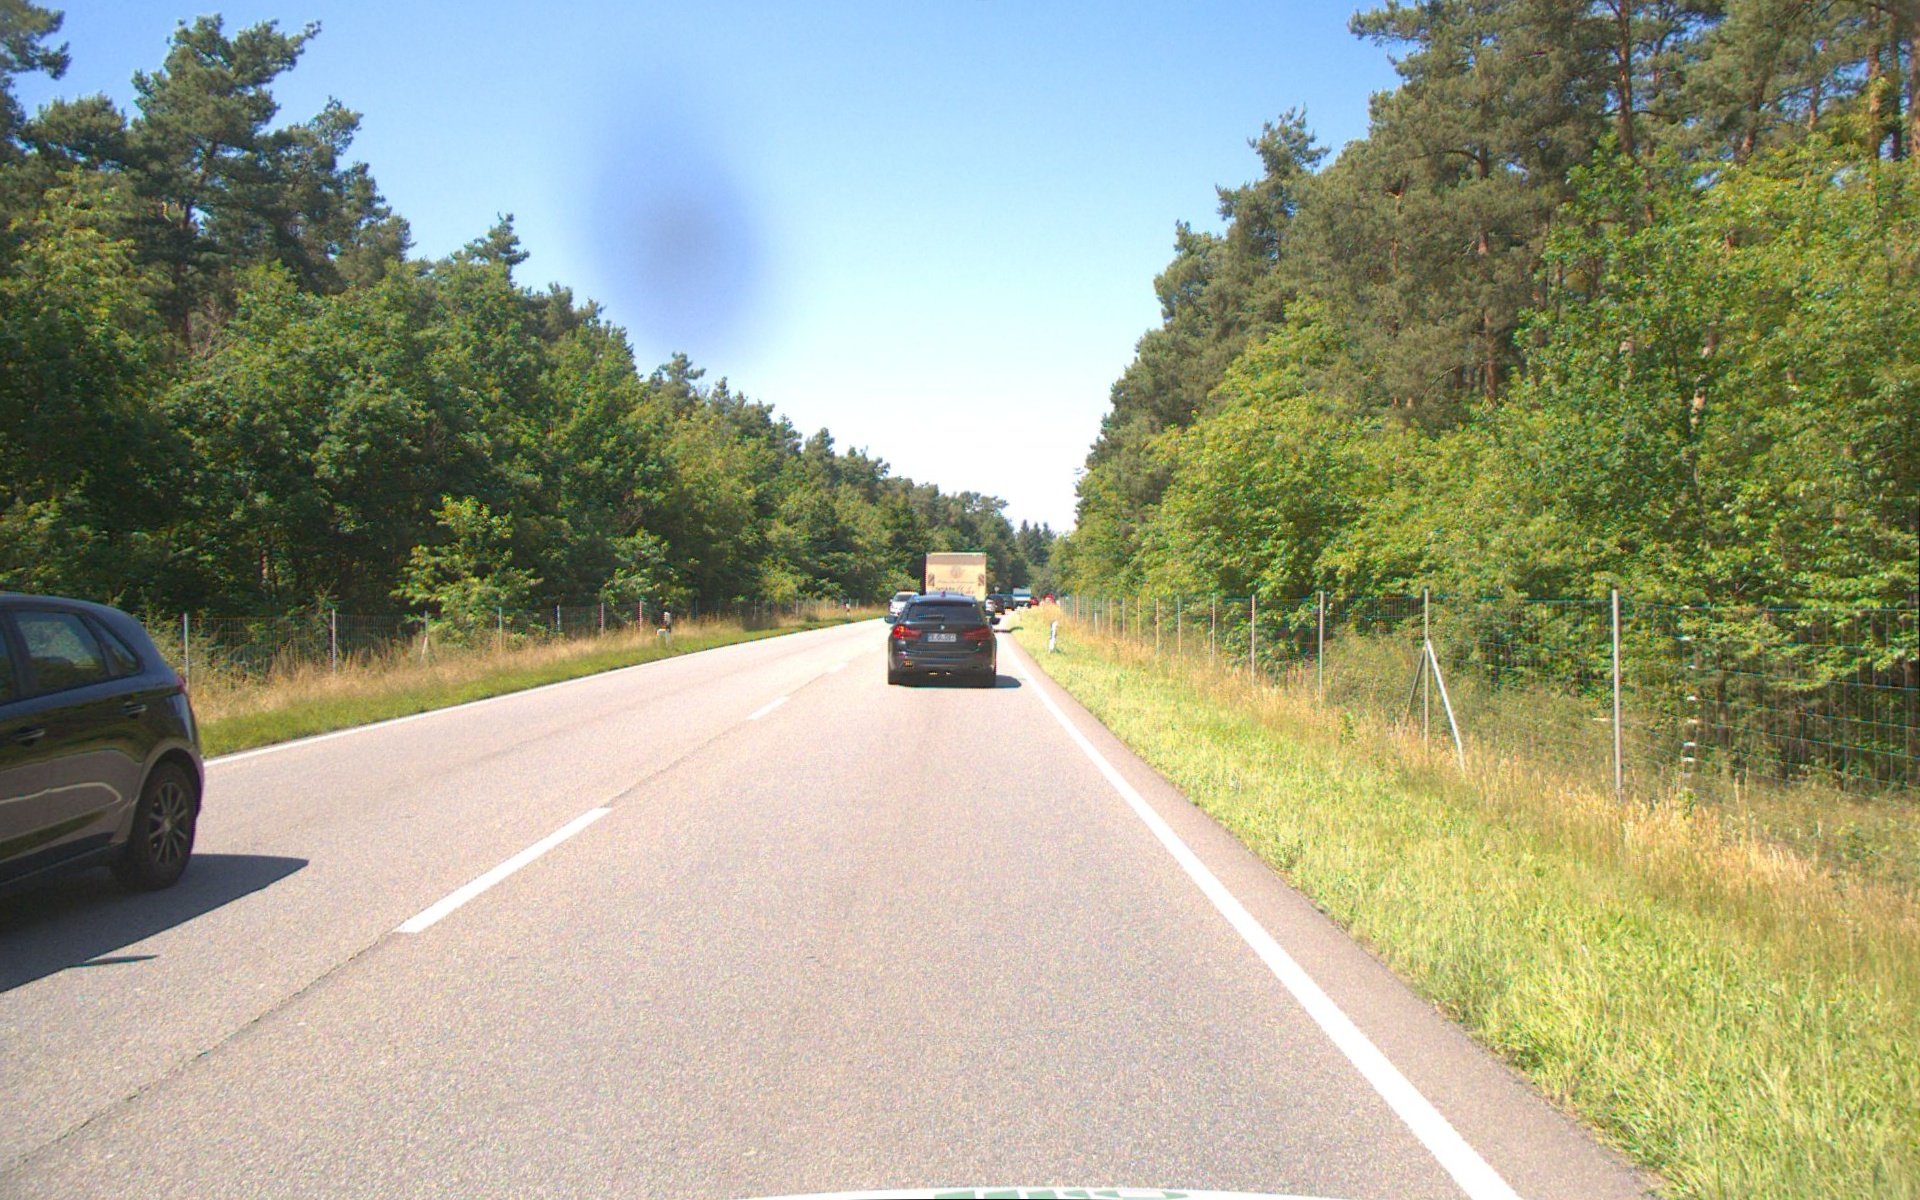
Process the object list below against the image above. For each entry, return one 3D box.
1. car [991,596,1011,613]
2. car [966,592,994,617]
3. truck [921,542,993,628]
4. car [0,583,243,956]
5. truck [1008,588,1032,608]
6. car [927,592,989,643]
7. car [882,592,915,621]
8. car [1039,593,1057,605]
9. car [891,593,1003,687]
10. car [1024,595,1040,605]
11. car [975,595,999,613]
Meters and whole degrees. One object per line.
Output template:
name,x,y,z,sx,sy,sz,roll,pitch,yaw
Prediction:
car,4.158,0.402,168.282,1.952,1.665,4.001,-1,0,2
car,1.350,0.277,110.978,1.824,1.633,4.001,0,0,1
truck,-0.154,-0.621,70.713,2.905,3.447,6.437,-1,0,-1
car,-4.668,0.672,6.834,1.693,1.481,4.061,0,0,-1
truck,7.082,-0.245,195.521,2.509,2.241,4.977,0,0,5
car,-0.036,0.551,53.762,1.907,1.569,4.000,-1,0,1
car,-3.592,0.351,95.860,1.826,1.657,4.090,0,0,-3
car,13.773,-0.153,258.614,2.297,1.918,4.636,0,0,9
car,-0.237,0.634,28.505,1.783,1.496,3.999,0,0,-1
car,9.871,-0.045,226.540,1.756,1.378,3.932,0,0,8
car,2.192,0.341,134.206,1.952,1.445,4.001,0,0,1
